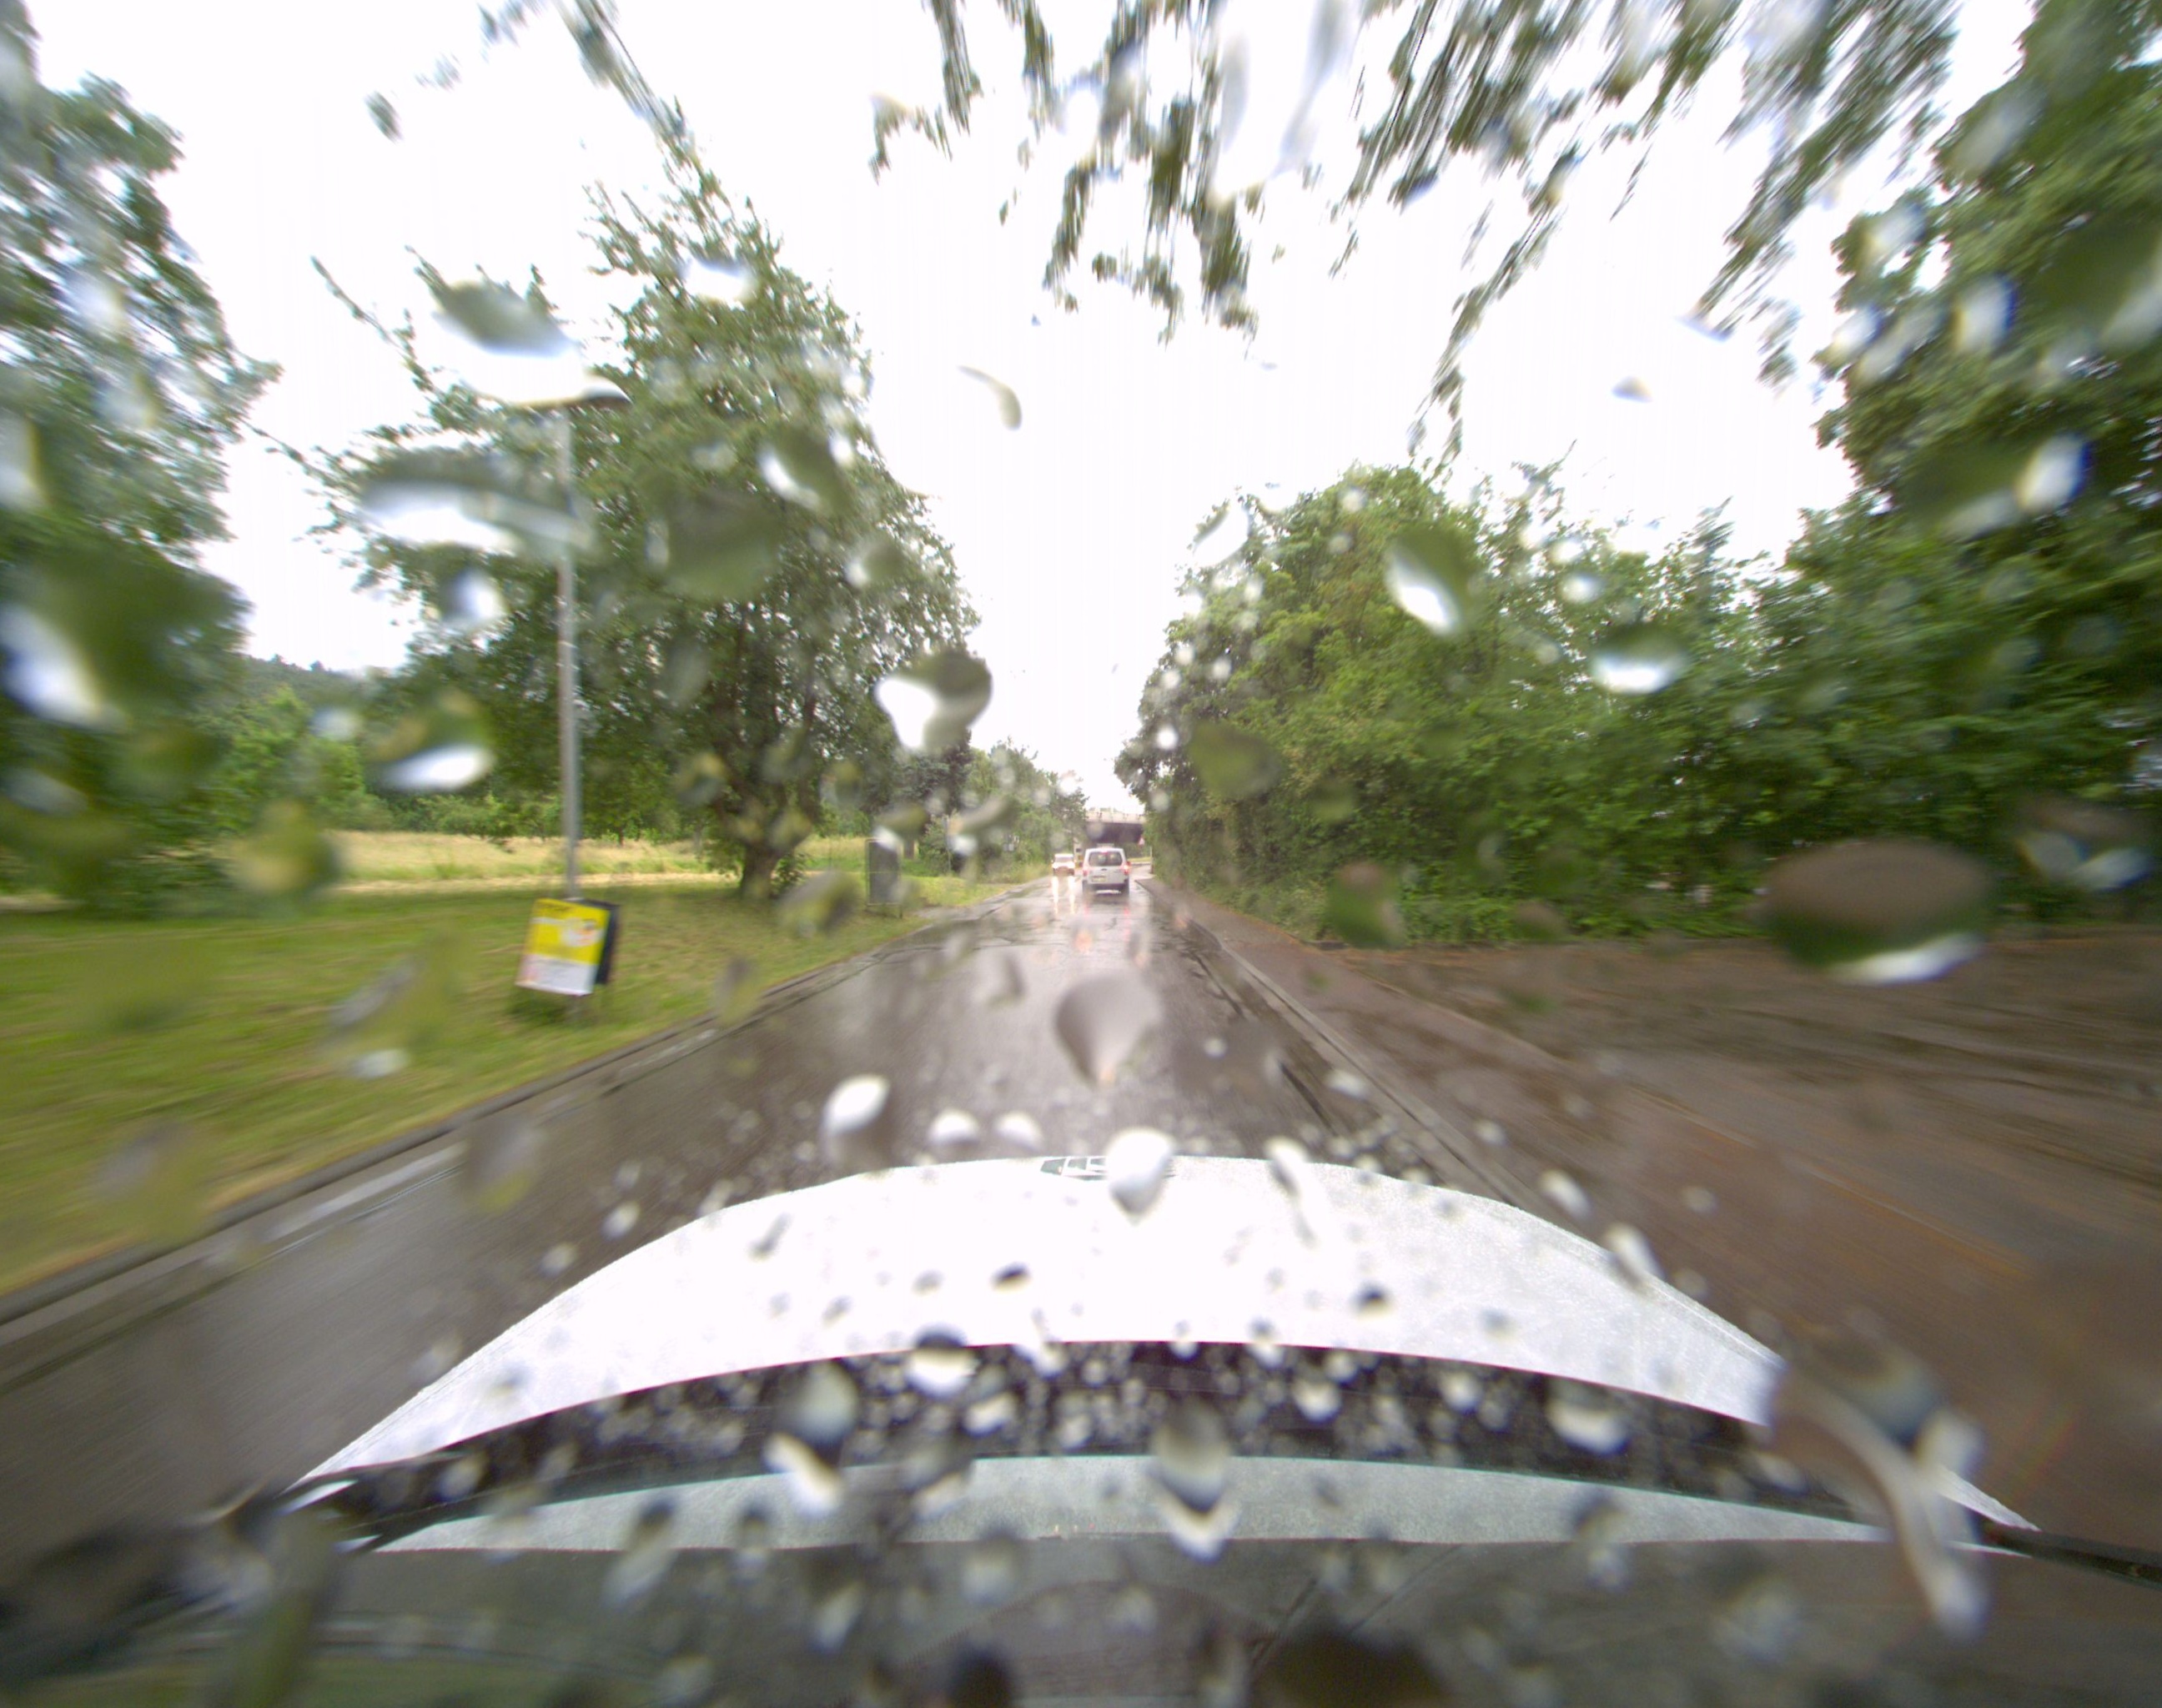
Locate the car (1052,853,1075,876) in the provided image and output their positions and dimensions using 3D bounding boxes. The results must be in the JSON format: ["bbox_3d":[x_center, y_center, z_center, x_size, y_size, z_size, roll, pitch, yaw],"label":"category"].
[{"bbox_3d":[-1.419,0.881,68.907,1.817,1.832,4.307,-1,0,0],"label":"car"}]

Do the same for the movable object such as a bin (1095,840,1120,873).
[{"bbox_3d":[2.173,0.223,65.625,1.753,2.548,4.243,-1,0,4],"label":"movable object such as a bin"}]

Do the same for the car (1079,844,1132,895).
[{"bbox_3d":[0.977,0.560,32.092,1.889,1.807,4.002,-2,0,2],"label":"car"}]
